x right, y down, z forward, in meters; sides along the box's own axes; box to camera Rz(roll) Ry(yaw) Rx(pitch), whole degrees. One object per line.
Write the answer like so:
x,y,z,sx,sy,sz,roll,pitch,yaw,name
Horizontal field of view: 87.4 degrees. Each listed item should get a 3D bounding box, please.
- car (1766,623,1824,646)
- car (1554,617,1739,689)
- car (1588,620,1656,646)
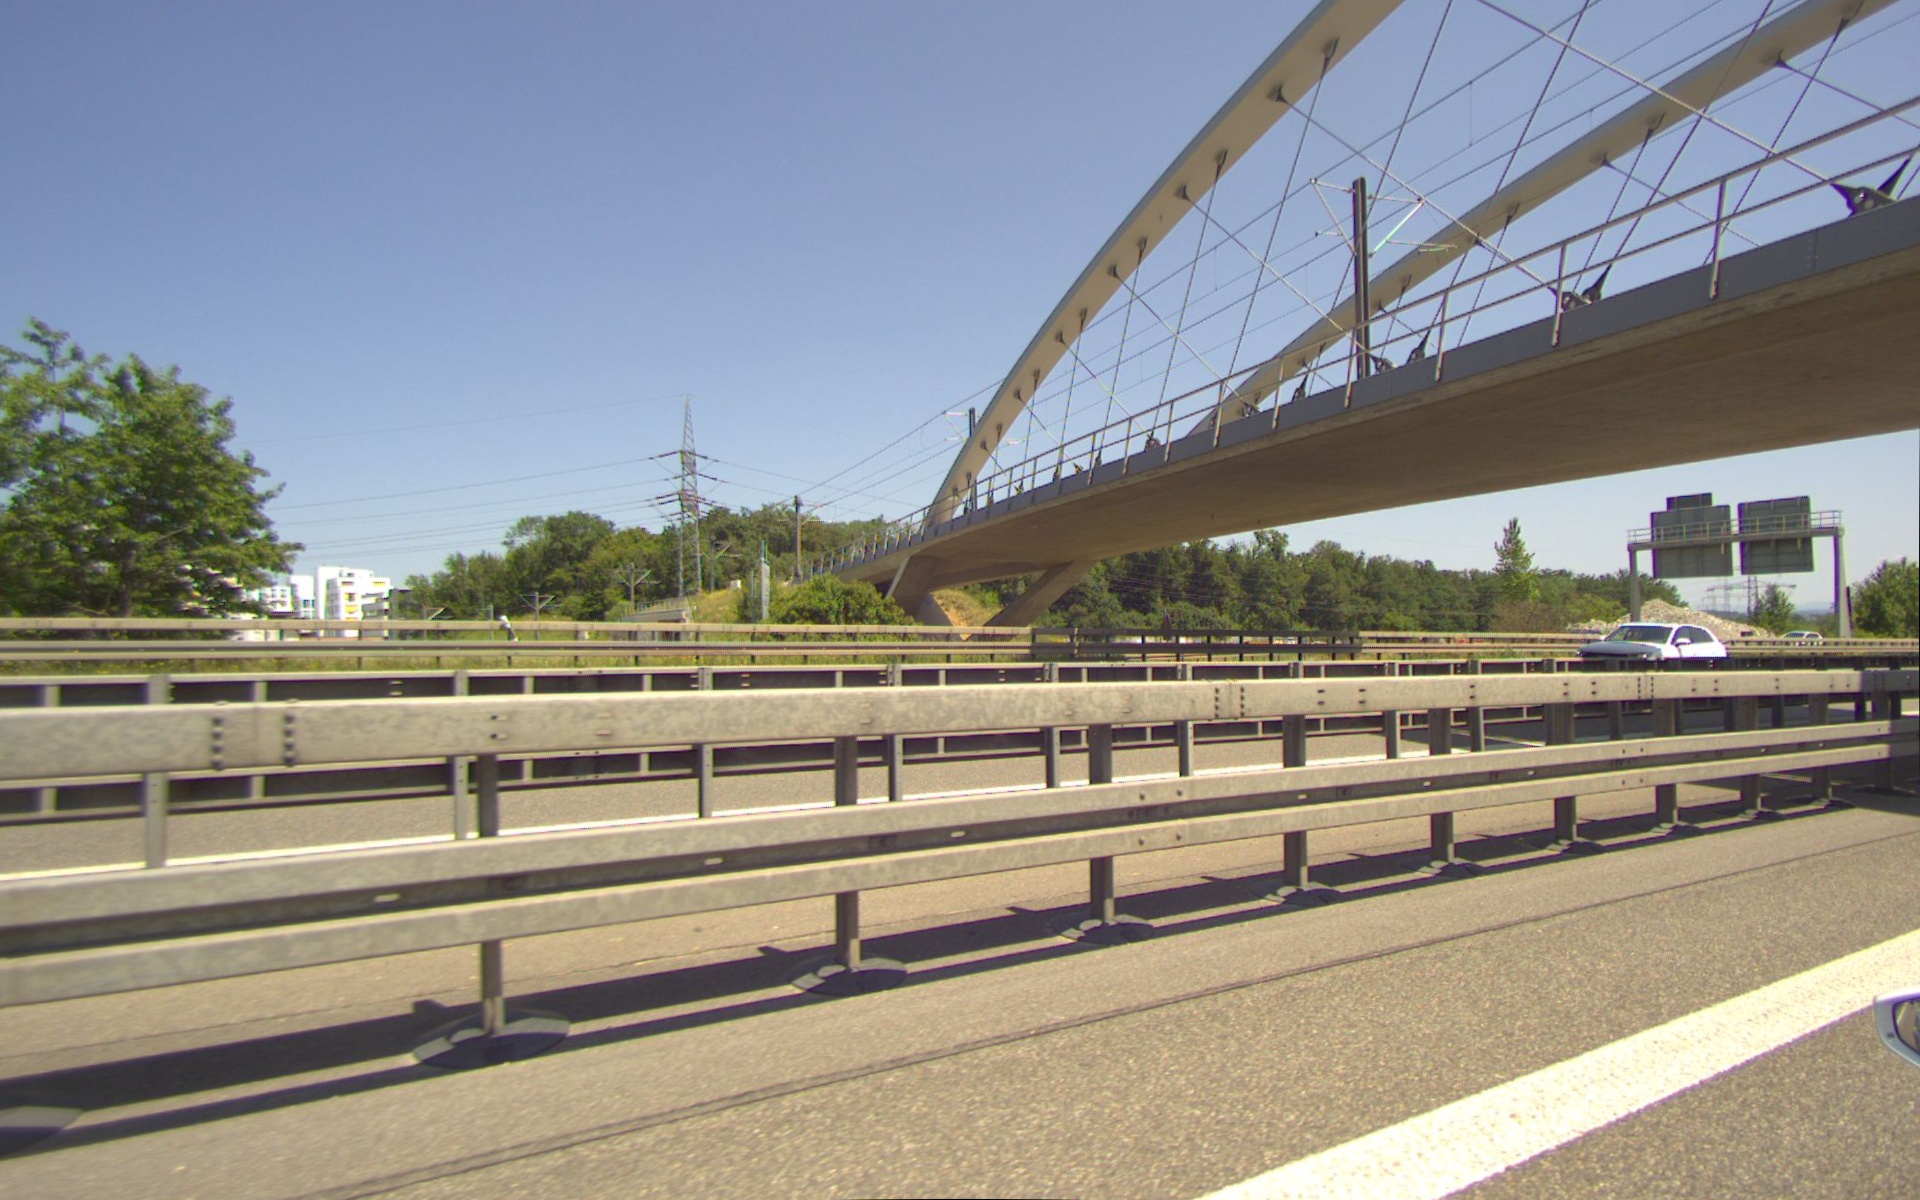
61.453,2.544,73.947,3.950,1.639,1.985,1,-1,-29,car
17.443,1.289,25.453,4.917,1.661,1.919,1,-1,-30,car
43.396,2.158,65.810,4.269,1.639,1.985,1,-1,-29,car
